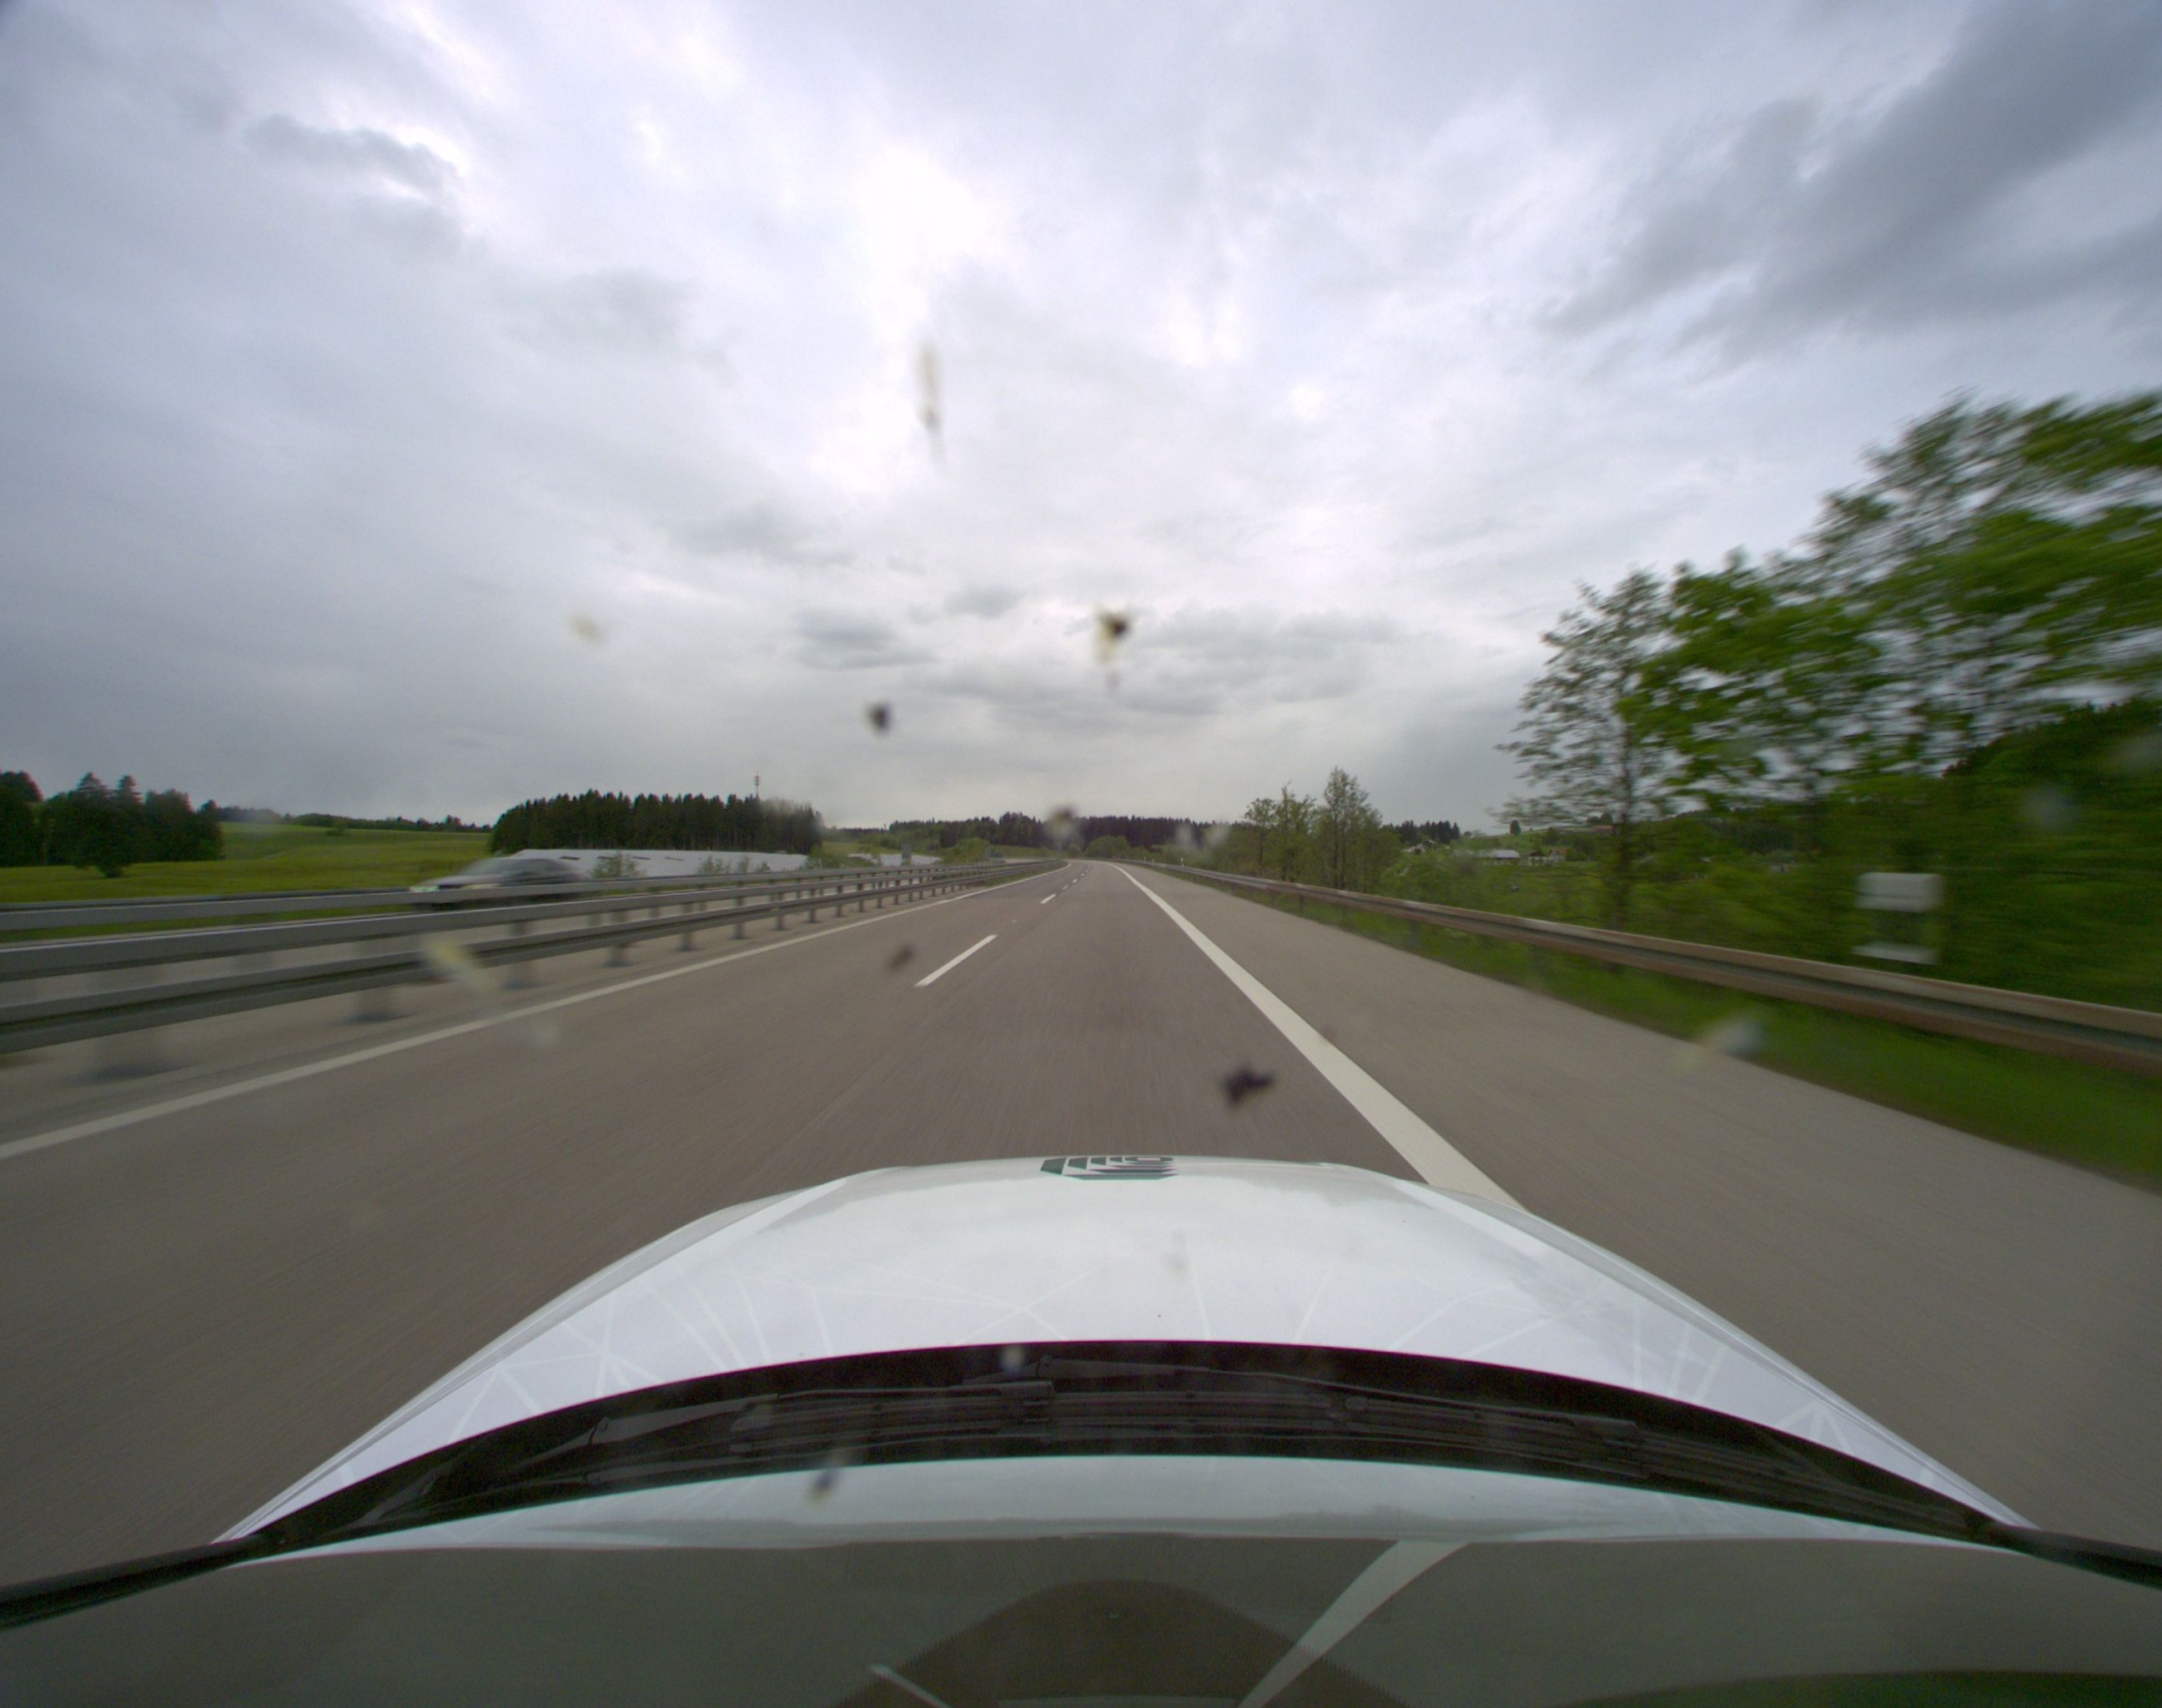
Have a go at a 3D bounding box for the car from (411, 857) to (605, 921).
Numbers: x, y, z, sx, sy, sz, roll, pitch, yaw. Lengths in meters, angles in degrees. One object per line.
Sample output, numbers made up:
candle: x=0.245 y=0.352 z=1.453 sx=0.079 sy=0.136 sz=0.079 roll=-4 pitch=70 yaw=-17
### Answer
car: x=-15.978 y=0.911 z=23.127 sx=1.987 sy=1.617 sz=4.848 roll=0 pitch=-1 yaw=1
